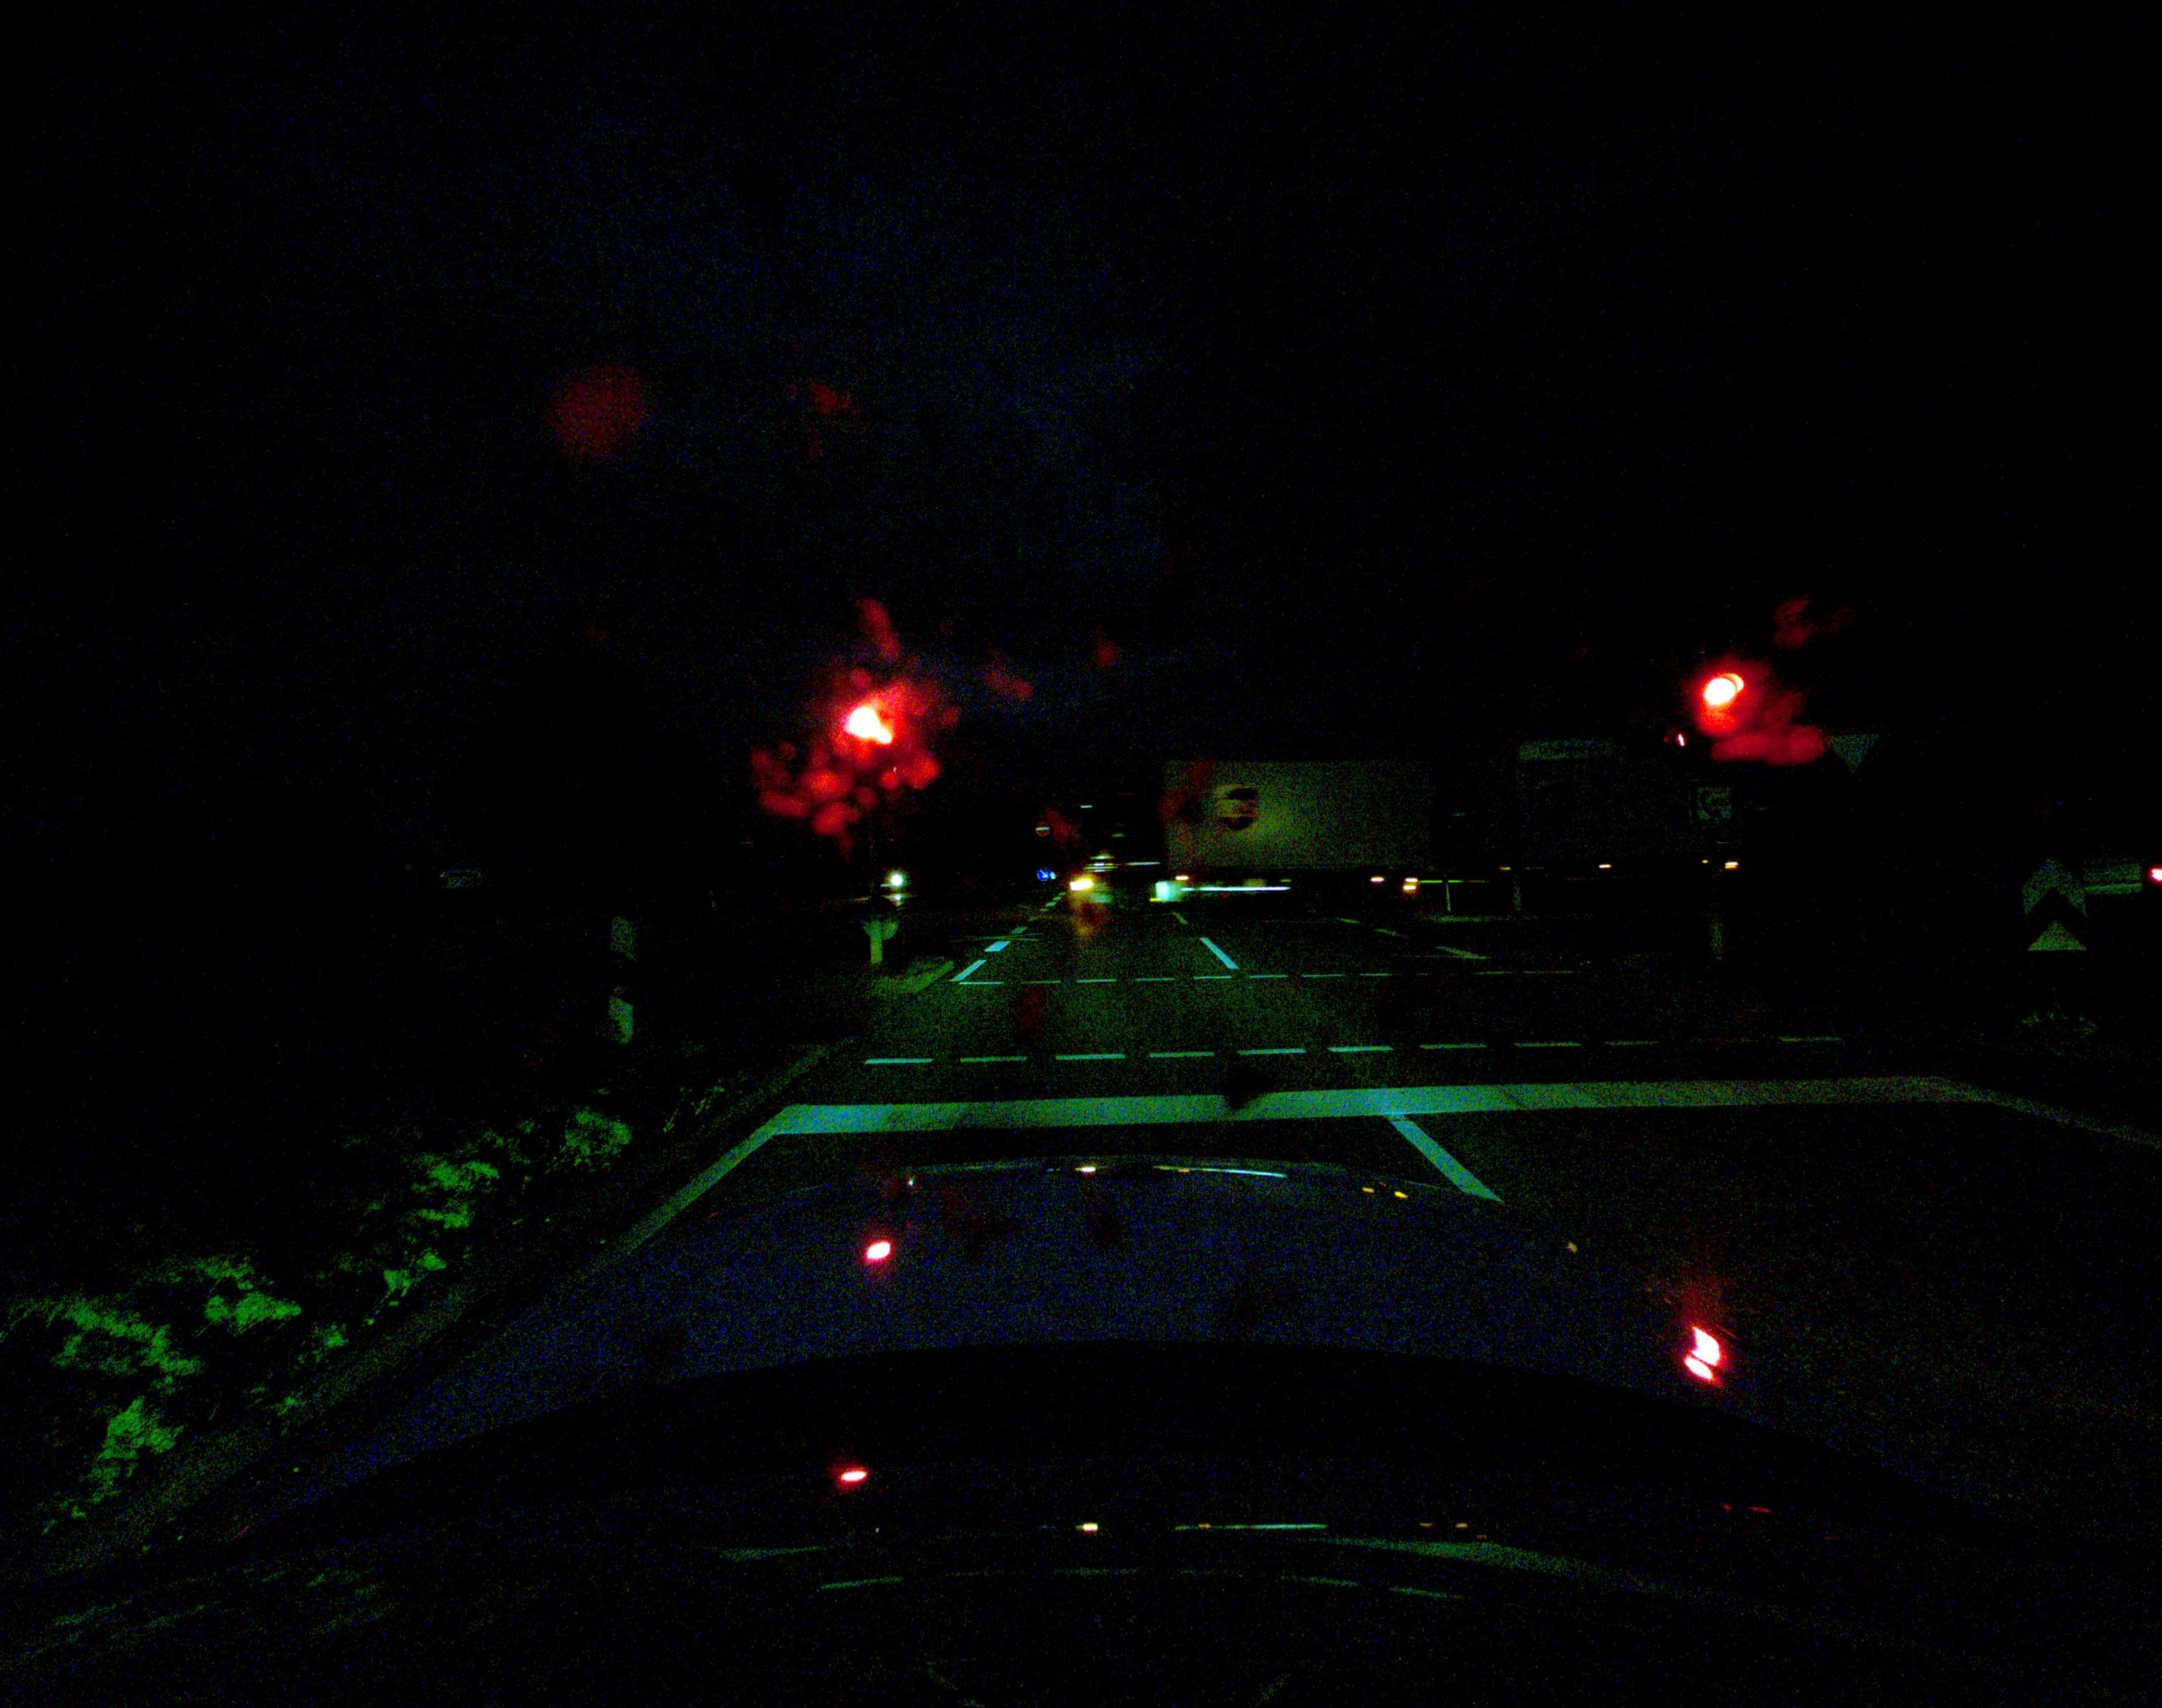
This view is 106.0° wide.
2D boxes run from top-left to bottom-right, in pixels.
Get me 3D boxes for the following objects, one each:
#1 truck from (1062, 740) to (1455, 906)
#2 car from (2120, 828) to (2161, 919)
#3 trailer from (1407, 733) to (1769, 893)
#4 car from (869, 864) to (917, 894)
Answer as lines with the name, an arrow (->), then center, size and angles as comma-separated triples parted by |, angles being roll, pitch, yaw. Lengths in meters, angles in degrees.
truck -> 4.741, -0.844, 22.747 | 10.295, 4.117, 2.730 | -2, -1, -5
car -> 19.179, 0.286, 13.472 | 4.010, 1.442, 1.792 | 0, -2, -29
trailer -> 14.310, -1.136, 23.357 | 8.828, 3.943, 2.582 | -3, 0, -3
car -> -10.771, 1.400, 46.874 | 1.622, 1.376, 3.591 | -6, 0, 2
